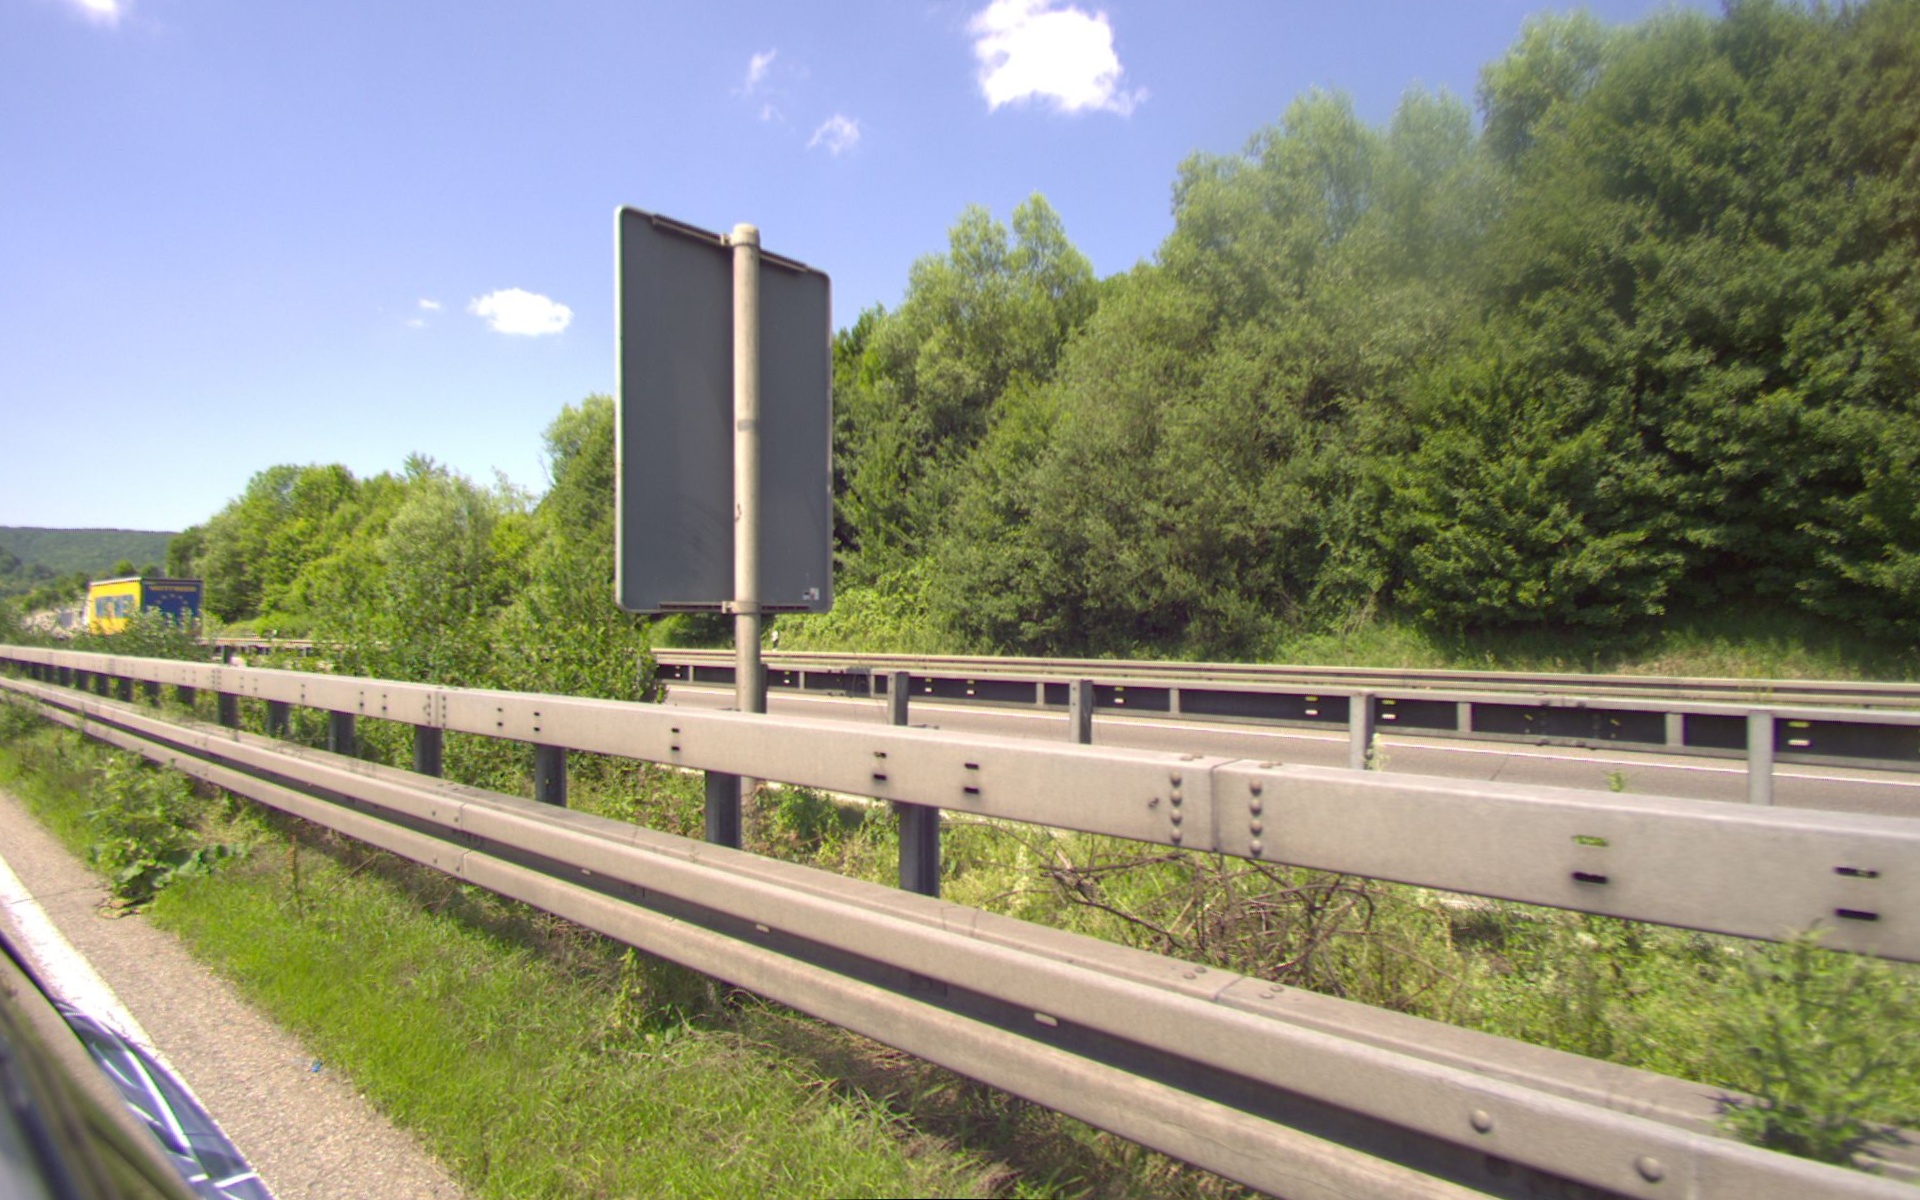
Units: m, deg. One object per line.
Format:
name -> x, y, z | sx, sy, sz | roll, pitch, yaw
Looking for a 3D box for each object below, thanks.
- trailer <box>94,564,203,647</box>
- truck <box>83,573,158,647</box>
trailer -> -43.693, 0.404, 54.248 | 12.597, 4.035, 2.553 | -2, -1, 42
truck -> -49.148, 0.639, 59.171 | 5.848, 4.121, 2.520 | -2, -2, 42
